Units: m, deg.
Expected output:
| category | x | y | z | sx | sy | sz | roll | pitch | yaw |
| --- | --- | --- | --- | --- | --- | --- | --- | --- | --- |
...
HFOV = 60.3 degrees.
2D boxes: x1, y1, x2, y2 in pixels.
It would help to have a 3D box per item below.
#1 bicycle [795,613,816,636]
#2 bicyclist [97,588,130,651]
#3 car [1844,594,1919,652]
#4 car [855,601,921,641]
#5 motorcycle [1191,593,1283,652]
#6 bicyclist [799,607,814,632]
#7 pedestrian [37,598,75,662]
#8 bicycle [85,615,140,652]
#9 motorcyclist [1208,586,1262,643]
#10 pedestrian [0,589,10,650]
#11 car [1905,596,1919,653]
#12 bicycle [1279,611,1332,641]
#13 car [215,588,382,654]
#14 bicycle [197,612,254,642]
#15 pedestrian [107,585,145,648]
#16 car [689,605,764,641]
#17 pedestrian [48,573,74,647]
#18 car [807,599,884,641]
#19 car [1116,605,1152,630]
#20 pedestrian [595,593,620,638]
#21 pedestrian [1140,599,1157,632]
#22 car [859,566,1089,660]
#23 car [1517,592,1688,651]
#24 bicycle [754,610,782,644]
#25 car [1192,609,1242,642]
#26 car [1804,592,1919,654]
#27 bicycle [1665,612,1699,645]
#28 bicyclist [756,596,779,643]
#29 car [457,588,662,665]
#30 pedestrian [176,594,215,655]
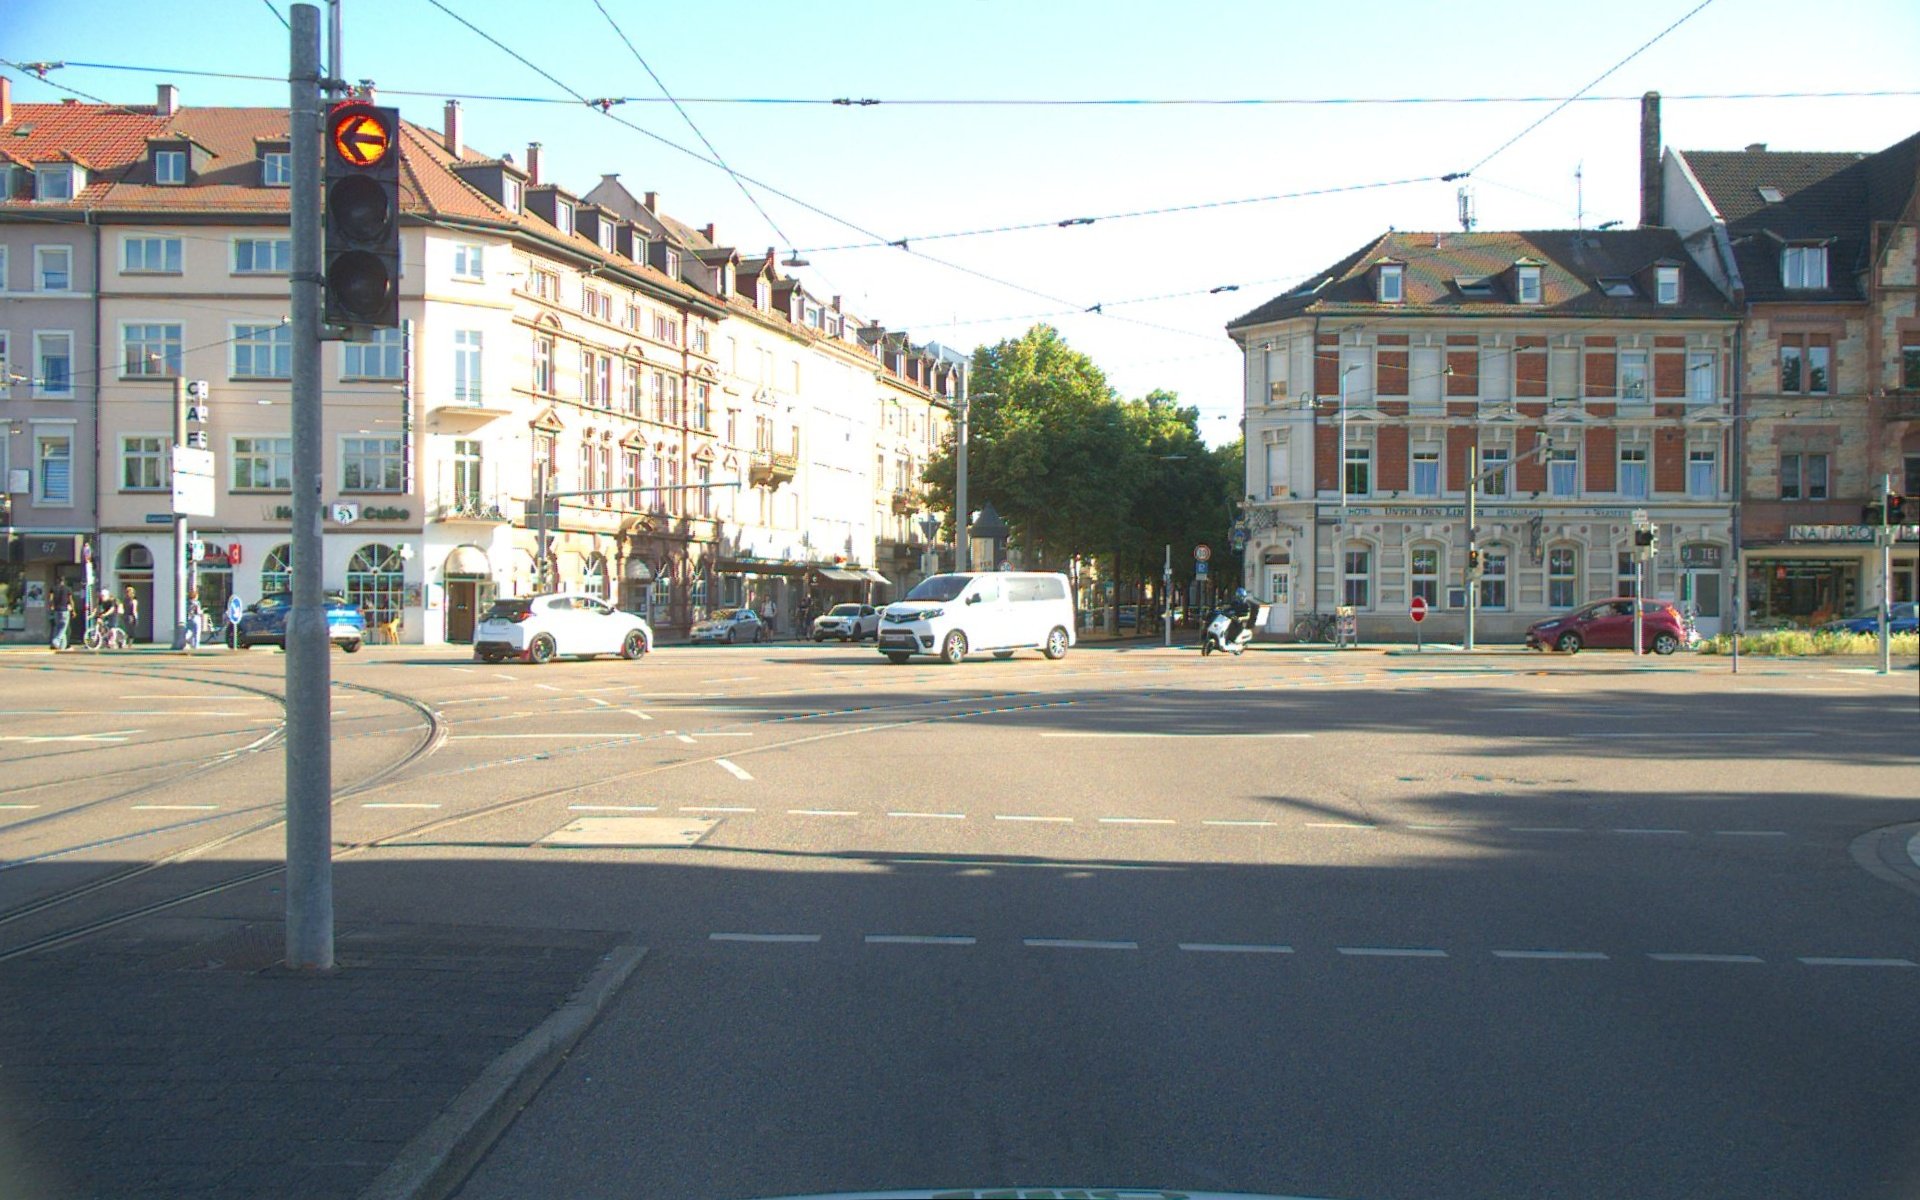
| category | x | y | z | sx | sy | sz | roll | pitch | yaw |
| --- | --- | --- | --- | --- | --- | --- | --- | --- | --- |
| bicycle | -6.612 | 1.043 | 70.852 | 0.462 | 0.938 | 1.453 | 1 | 0 | 14 |
| bicyclist | -24.996 | 0.568 | 48.829 | 0.608 | 1.822 | 0.615 | 1 | -1 | 4 |
| car | 28.369 | 0.687 | 48.514 | 3.905 | 1.650 | 1.804 | 1 | 0 | 0 |
| car | -3.180 | 0.930 | 73.587 | 1.786 | 1.715 | 3.877 | 1 | 0 | 16 |
| motorcycle | 6.569 | 0.538 | 39.200 | 2.111 | 1.357 | 0.789 | 1 | -1 | -28 |
| bicyclist | -6.591 | 0.821 | 70.939 | 0.462 | 1.058 | 0.538 | 1 | -1 | 14 |
| pedestrian | -23.929 | 0.783 | 43.785 | 0.561 | 1.677 | 0.727 | 1 | -1 | -1 |
| bicycle | -25.005 | 0.976 | 48.804 | 0.608 | 1.048 | 1.755 | 1 | 0 | 4 |
| motorcyclist | 6.507 | 0.349 | 39.167 | 1.003 | 1.323 | 0.782 | 1 | -1 | -28 |
| pedestrian | -23.954 | 0.474 | 40.961 | 0.481 | 1.518 | 0.556 | 1 | -1 | -1 |
| car | 27.545 | 0.669 | 43.153 | 4.759 | 1.495 | 1.803 | 0 | 1 | 0 |
| bicycle | 11.976 | 0.903 | 57.296 | 1.764 | 0.979 | 0.604 | 1 | 0 | 14 |
| car | -16.945 | 0.511 | 42.324 | 4.107 | 1.602 | 1.828 | 1 | 0 | 30 |
| bicycle | -25.099 | 0.914 | 56.515 | 1.666 | 1.000 | 0.611 | 1 | 0 | -1 |
| pedestrian | -22.532 | 0.453 | 44.708 | 0.571 | 1.677 | 0.840 | 1 | -1 | -1 |
| car | -9.434 | 0.924 | 67.013 | 1.624 | 1.398 | 3.894 | 1 | 0 | 14 |
| pedestrian | -22.808 | 0.261 | 41.964 | 0.521 | 1.854 | 0.670 | 1 | -1 | -28 |
| car | -4.618 | 0.804 | 67.203 | 1.764 | 1.613 | 4.162 | 1 | 0 | 16 |
| car | 12.322 | 1.221 | 116.787 | 1.951 | 1.713 | 4.003 | 1 | 0 | 15 |
| pedestrian | -13.242 | 0.569 | 62.126 | 0.556 | 1.671 | 0.792 | 1 | -1 | 22 |
| pedestrian | 12.006 | 0.984 | 105.491 | 0.924 | 2.049 | 0.826 | 1 | -1 | -3 |
| car | 0.386 | 0.281 | 35.807 | 1.967 | 1.886 | 5.179 | 0 | 0 | 44 |
| car | 16.586 | 0.550 | 42.807 | 3.790 | 1.451 | 1.595 | 1 | 1 | -1 |
| bicycle | -7.539 | 1.053 | 65.046 | 0.553 | 1.276 | 1.558 | 1 | 0 | 14 |
| car | 12.888 | 1.267 | 82.774 | 1.719 | 1.583 | 4.001 | 1 | 0 | 20 |
| car | 25.916 | 0.634 | 46.037 | 3.905 | 1.650 | 1.804 | 1 | 0 | 0 |
| bicycle | 23.239 | 0.899 | 53.254 | 0.775 | 1.033 | 2.211 | 1 | 0 | 17 |
| bicyclist | -7.558 | 0.773 | 64.987 | 0.553 | 1.835 | 0.915 | 1 | -1 | 14 |
| car | -8.426 | 0.519 | 35.063 | 1.860 | 1.479 | 3.993 | 0 | 1 | 36 |
| pedestrian | -20.685 | 0.659 | 44.781 | 0.655 | 1.622 | 0.815 | 1 | -1 | -1 |
